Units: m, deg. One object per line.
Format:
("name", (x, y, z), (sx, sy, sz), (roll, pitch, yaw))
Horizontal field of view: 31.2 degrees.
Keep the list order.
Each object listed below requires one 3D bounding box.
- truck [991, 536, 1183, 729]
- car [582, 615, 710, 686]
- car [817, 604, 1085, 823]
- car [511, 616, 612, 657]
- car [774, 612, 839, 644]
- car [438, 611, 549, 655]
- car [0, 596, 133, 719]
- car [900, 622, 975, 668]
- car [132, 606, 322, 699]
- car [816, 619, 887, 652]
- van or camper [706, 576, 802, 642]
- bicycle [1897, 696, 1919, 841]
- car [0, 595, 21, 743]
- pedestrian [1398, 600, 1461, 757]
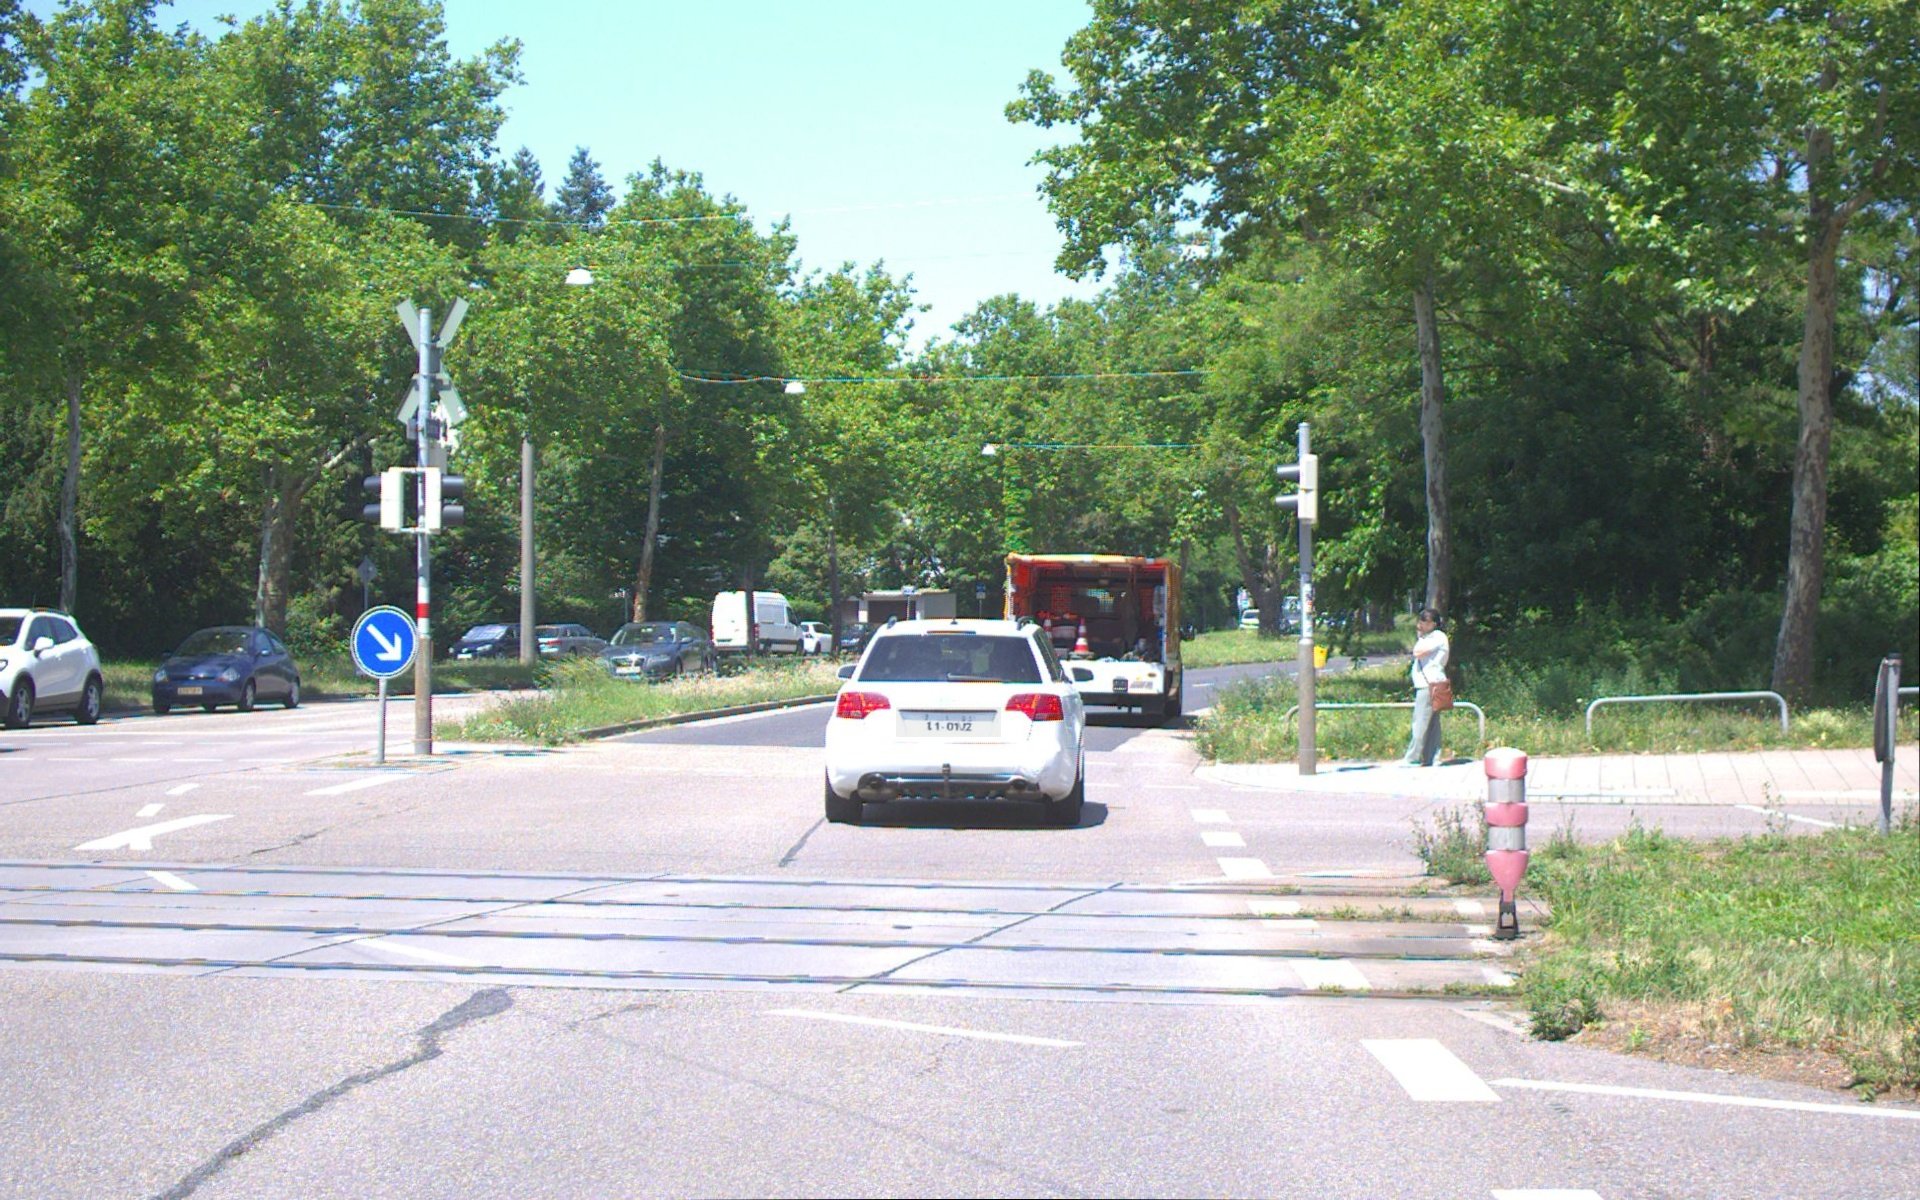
("truck", (1.980, 0.399, 50.723), (2.511, 2.551, 7.602), (2, 1, 4))
("car", (-6.522, 1.036, 71.822), (1.736, 1.390, 4.177), (-2, -1, 8))
("car", (-0.017, 0.749, 24.451), (1.762, 1.440, 3.616), (0, 0, 1))
("car", (-13.606, 1.233, 117.593), (1.883, 1.371, 3.996), (0, 0, 19))
("car", (-6.336, 1.165, 142.569), (1.694, 1.279, 3.800), (0, 0, 14))
("car", (-15.214, 1.052, 112.255), (1.883, 1.388, 3.995), (0, 0, 21))
("car", (-13.070, 0.753, 47.510), (1.788, 1.609, 4.403), (0, 0, 7))
("car", (-0.740, 1.542, 118.688), (1.813, 1.502, 4.591), (0, 0, 10))
("car", (-11.999, 0.836, 56.487), (1.721, 1.450, 3.867), (0, 0, 10))
("car", (-4.651, 1.526, 148.220), (1.830, 1.386, 3.943), (0, 0, 18))
("van or camper", (-8.131, 0.352, 136.256), (2.184, 2.579, 5.305), (0, 0, 15))
("bicycle", (6.474, 1.053, 20.882), (0.587, 0.892, 1.812), (0, 0, -20))
("car", (-11.011, 0.701, 33.962), (1.909, 1.533, 4.297), (0, 0, 6))
("pedestrian", (4.484, 0.746, 32.825), (0.553, 1.479, 0.629), (0, 0, 11))
